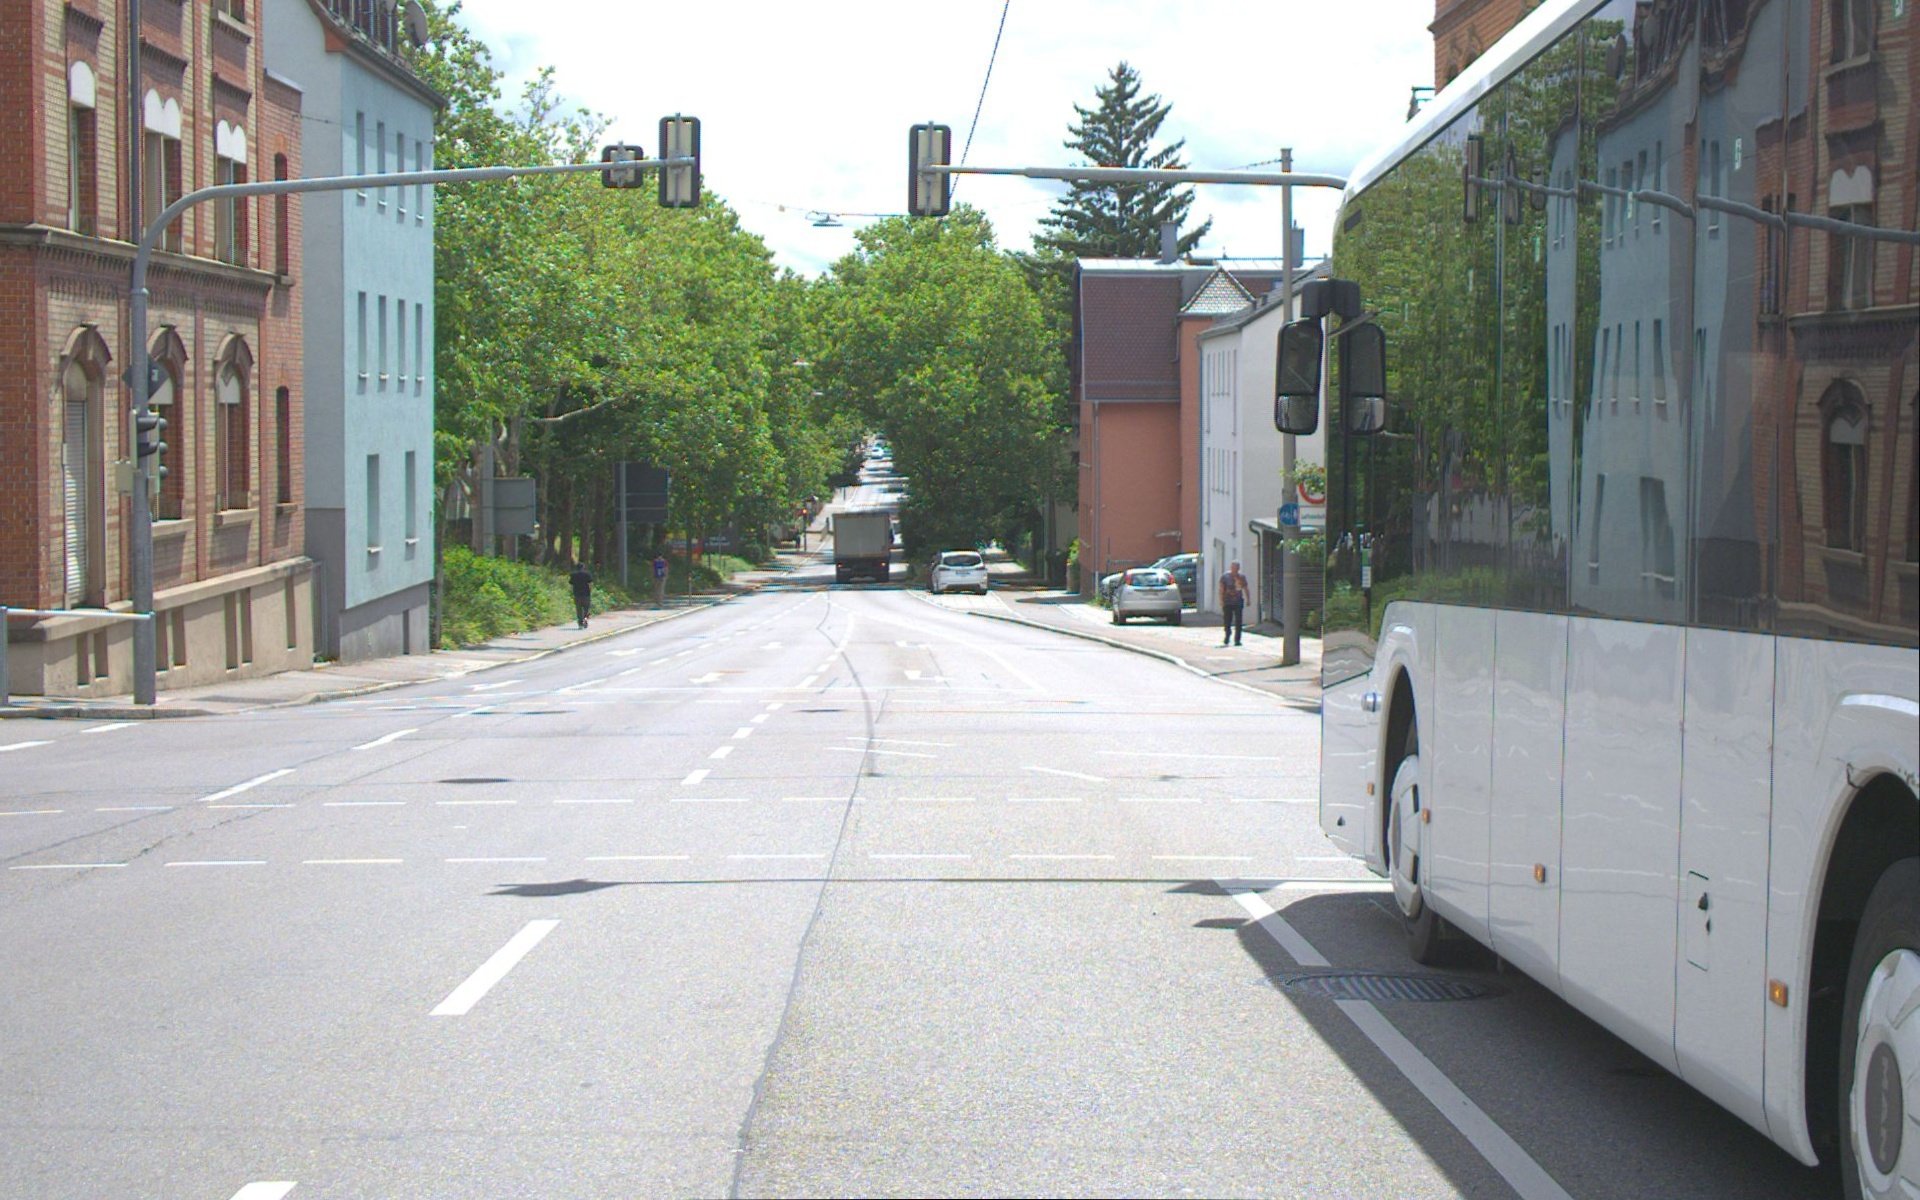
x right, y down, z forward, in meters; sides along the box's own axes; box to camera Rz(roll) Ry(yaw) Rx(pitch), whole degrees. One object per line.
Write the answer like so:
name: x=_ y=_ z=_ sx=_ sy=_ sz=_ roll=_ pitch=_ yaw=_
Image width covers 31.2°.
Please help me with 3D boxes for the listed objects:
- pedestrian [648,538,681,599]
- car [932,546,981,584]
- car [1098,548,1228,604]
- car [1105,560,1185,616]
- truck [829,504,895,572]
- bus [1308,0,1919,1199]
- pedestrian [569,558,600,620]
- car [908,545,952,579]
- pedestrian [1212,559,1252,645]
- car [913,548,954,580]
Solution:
pedestrian: x=-9.922 y=-1.060 z=115.427 sx=0.995 sy=2.007 sz=1.189 roll=-1 pitch=1 yaw=-1
car: x=-0.133 y=-1.322 z=129.471 sx=1.794 sy=1.405 sz=4.000 roll=1 pitch=1 yaw=-1
car: x=6.664 y=-0.794 z=113.162 sx=3.986 sy=1.751 sz=2.000 roll=-1 pitch=1 yaw=-5
car: x=4.986 y=-0.343 z=93.064 sx=1.794 sy=1.405 sz=4.001 roll=-1 pitch=1 yaw=-2
truck: x=-4.656 y=-2.918 z=161.970 sx=2.926 sy=3.070 sz=7.886 roll=-1 pitch=1 yaw=-3
bus: x=2.971 y=-0.248 z=9.293 sx=2.672 sy=3.145 sz=12.462 roll=0 pitch=1 yaw=-1
pedestrian: x=-9.488 y=-0.290 z=86.824 sx=0.729 sy=1.560 sz=0.561 roll=0 pitch=1 yaw=-1
car: x=-1.278 y=-1.602 z=146.031 sx=1.794 sy=1.405 sz=4.419 roll=1 pitch=1 yaw=0
pedestrian: x=5.588 y=0.045 z=70.594 sx=0.738 sy=1.744 sz=0.619 roll=-1 pitch=1 yaw=-1
car: x=-1.179 y=-1.606 z=153.926 sx=1.794 sy=1.405 sz=4.419 roll=1 pitch=1 yaw=0
